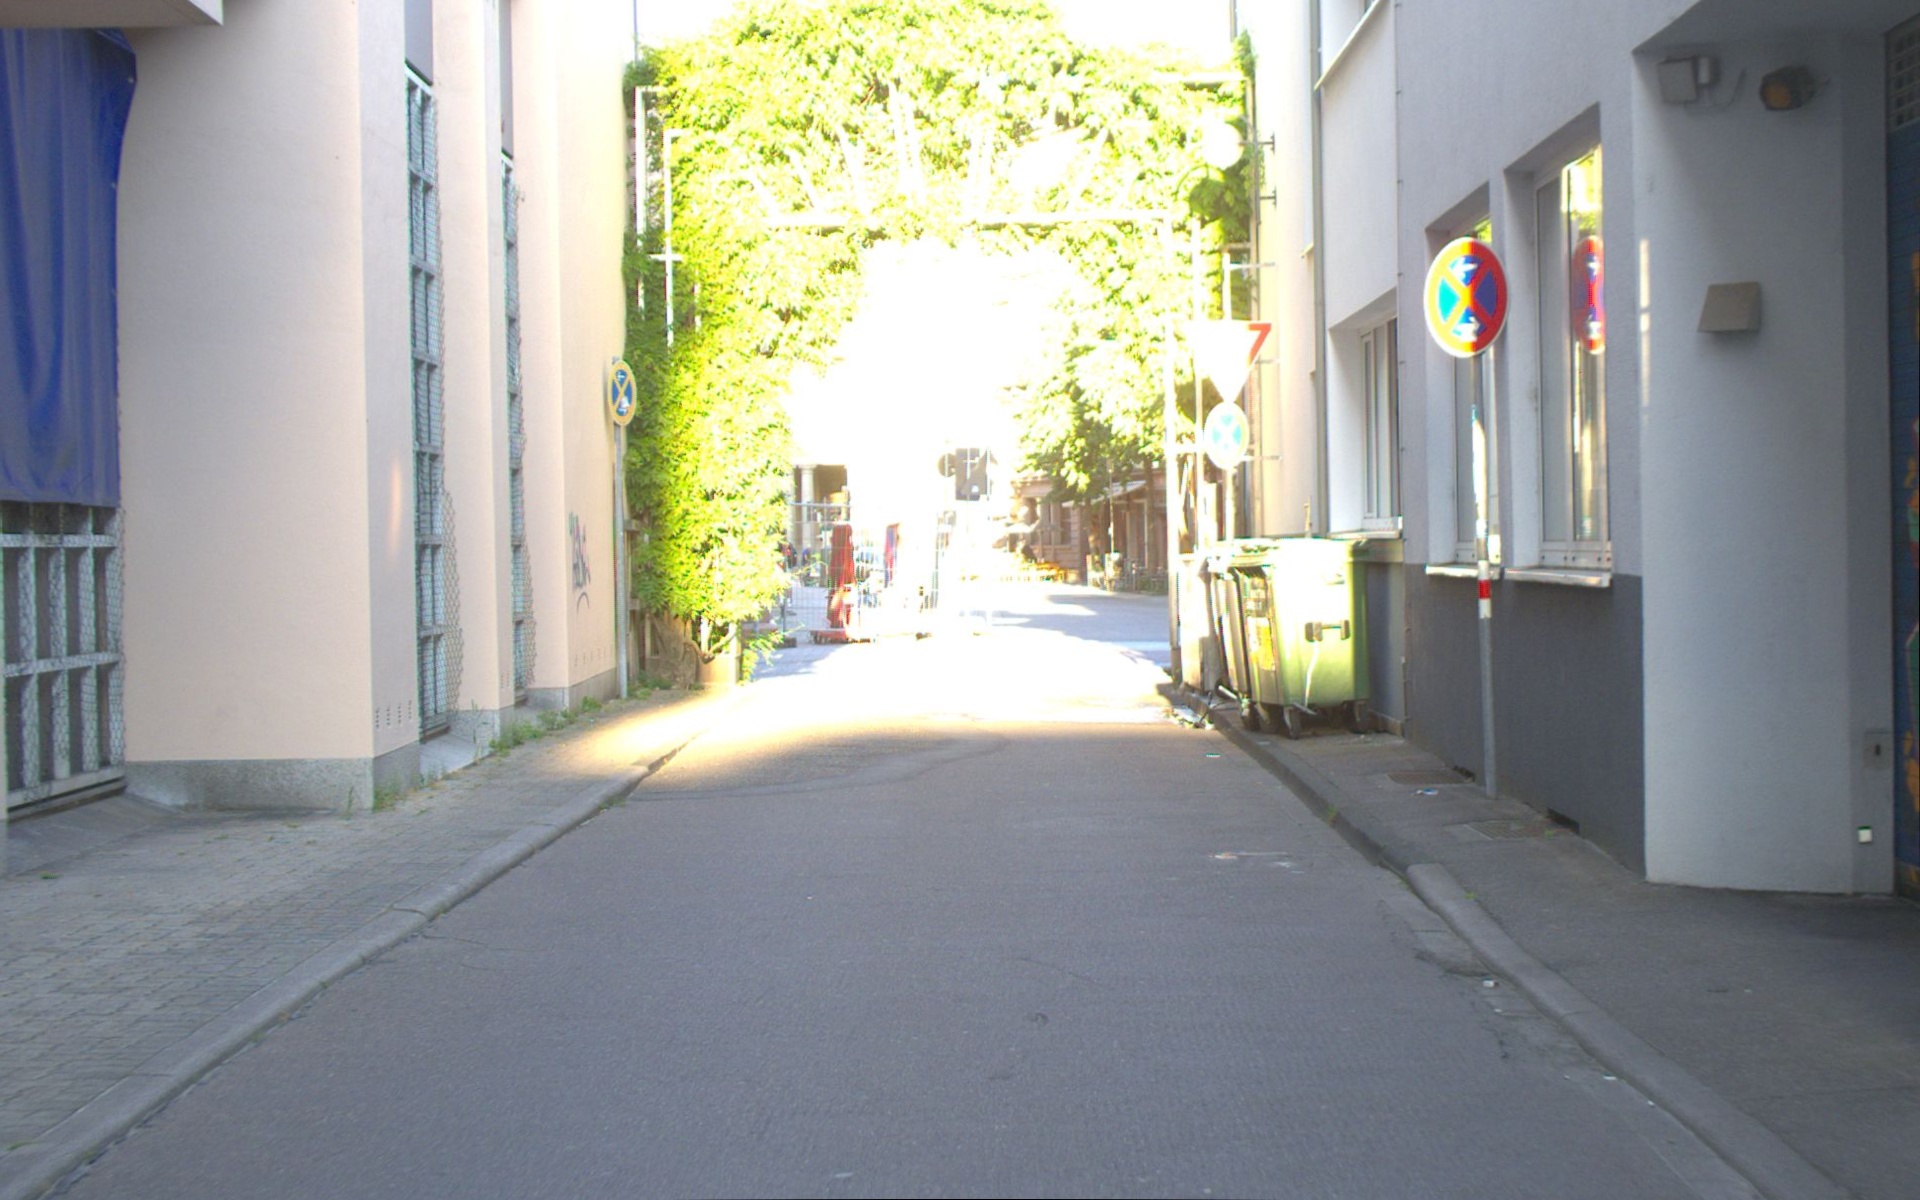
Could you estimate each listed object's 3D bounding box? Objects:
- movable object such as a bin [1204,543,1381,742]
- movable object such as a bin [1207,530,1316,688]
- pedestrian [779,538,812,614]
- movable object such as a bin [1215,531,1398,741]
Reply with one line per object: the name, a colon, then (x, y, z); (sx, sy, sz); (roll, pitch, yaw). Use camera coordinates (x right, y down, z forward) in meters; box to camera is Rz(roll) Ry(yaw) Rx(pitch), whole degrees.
movable object such as a bin: (2.422, 0.292, 25.226); (1.064, 1.362, 1.342); (-3, 1, -2)
movable object such as a bin: (2.609, 0.065, 29.872); (0.836, 1.300, 1.290); (-3, 1, 4)
pedestrian: (-3.861, -0.562, 80.542); (0.654, 1.758, 0.634); (-1, 0, 4)
movable object such as a bin: (2.384, 0.232, 23.820); (0.937, 1.362, 1.342); (-3, 1, -6)
